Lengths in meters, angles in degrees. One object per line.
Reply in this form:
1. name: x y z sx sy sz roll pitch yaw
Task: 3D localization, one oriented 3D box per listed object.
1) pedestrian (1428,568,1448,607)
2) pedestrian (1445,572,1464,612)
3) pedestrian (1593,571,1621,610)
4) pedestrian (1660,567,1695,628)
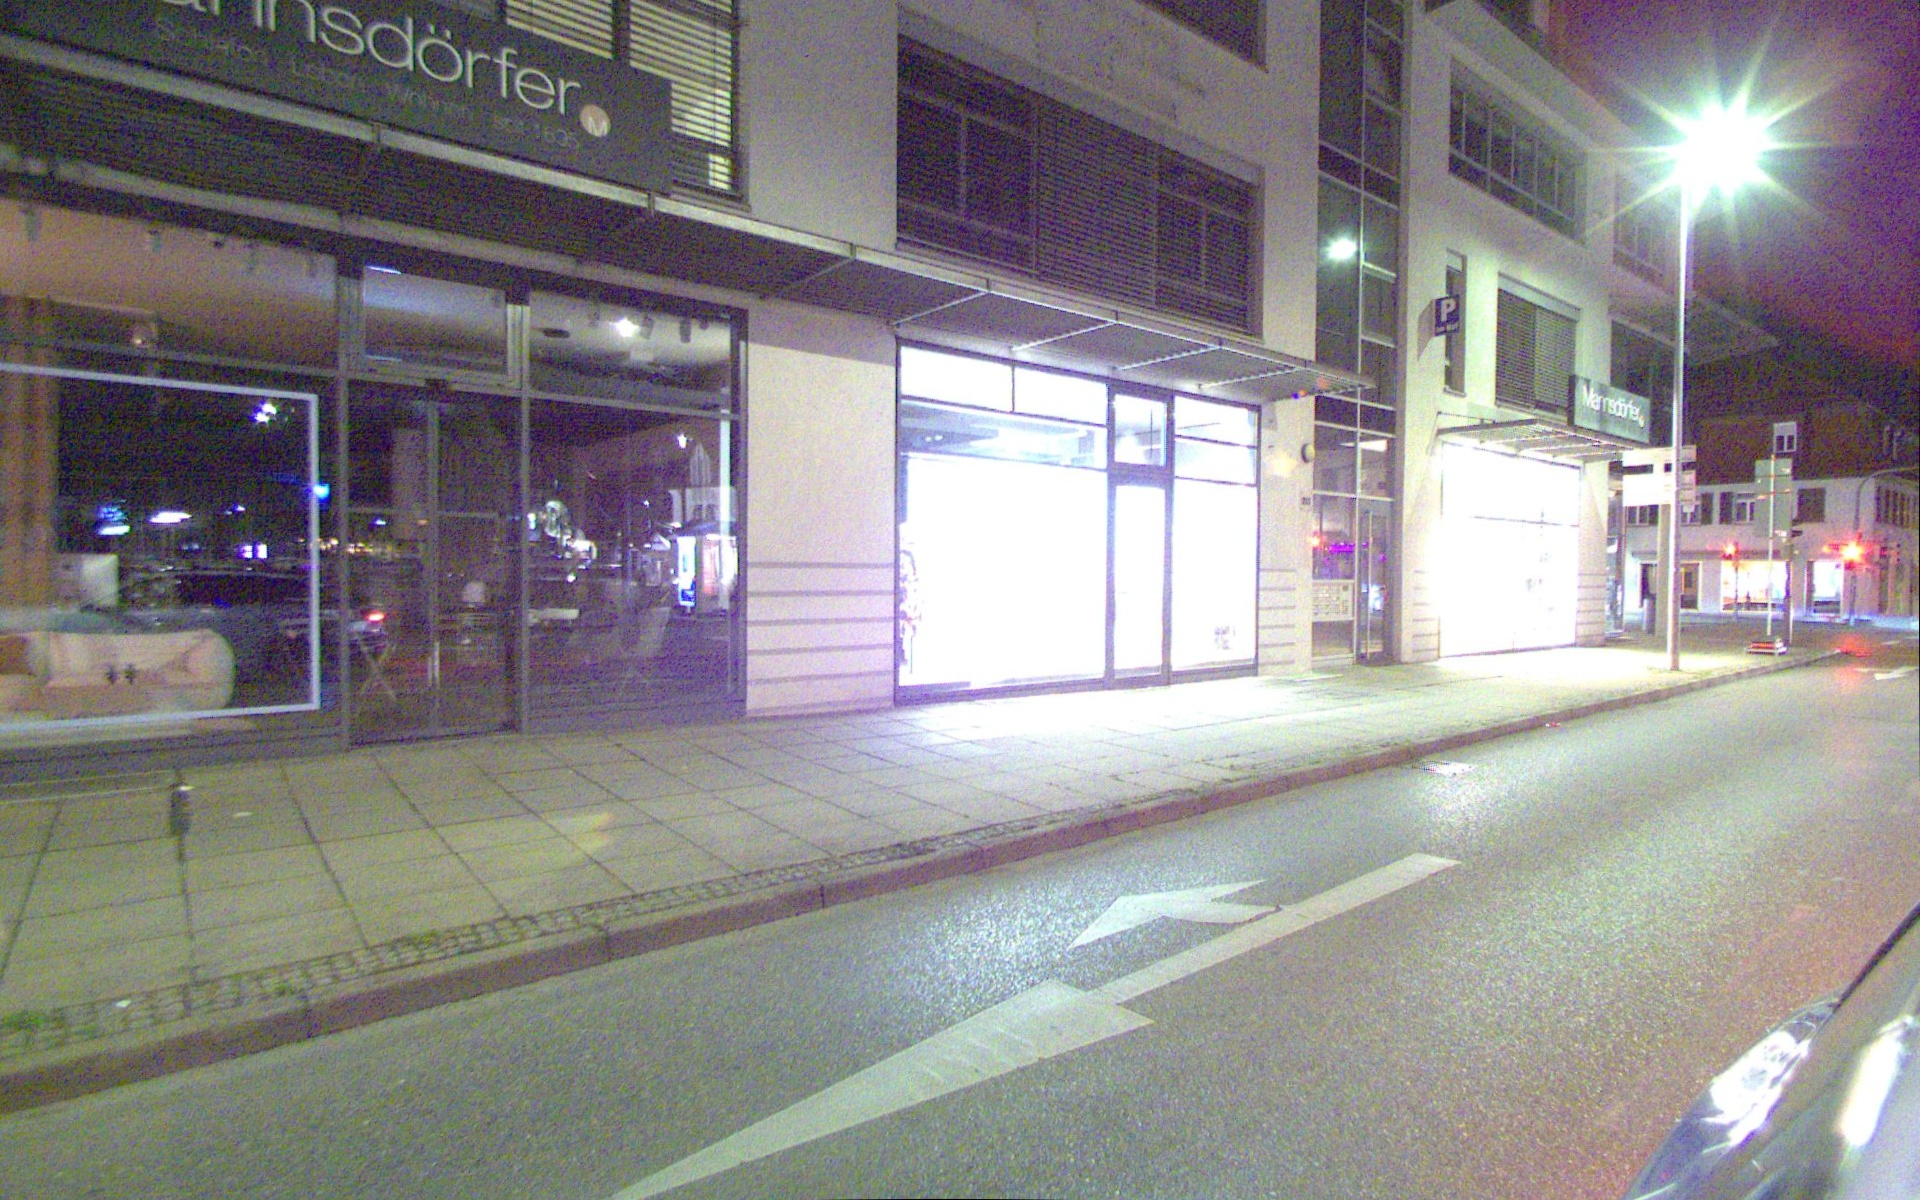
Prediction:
1. pedestrian: 21.340 -0.549 45.179 0.556 1.738 0.567 0 0 -34
2. pedestrian: 21.556 -0.335 44.106 0.556 1.738 0.524 0 0 -35
3. pedestrian: 29.904 -0.430 46.758 0.635 1.755 0.877 0 2 -37
4. pedestrian: 20.257 -0.077 28.570 0.634 1.703 0.541 0 0 -19
